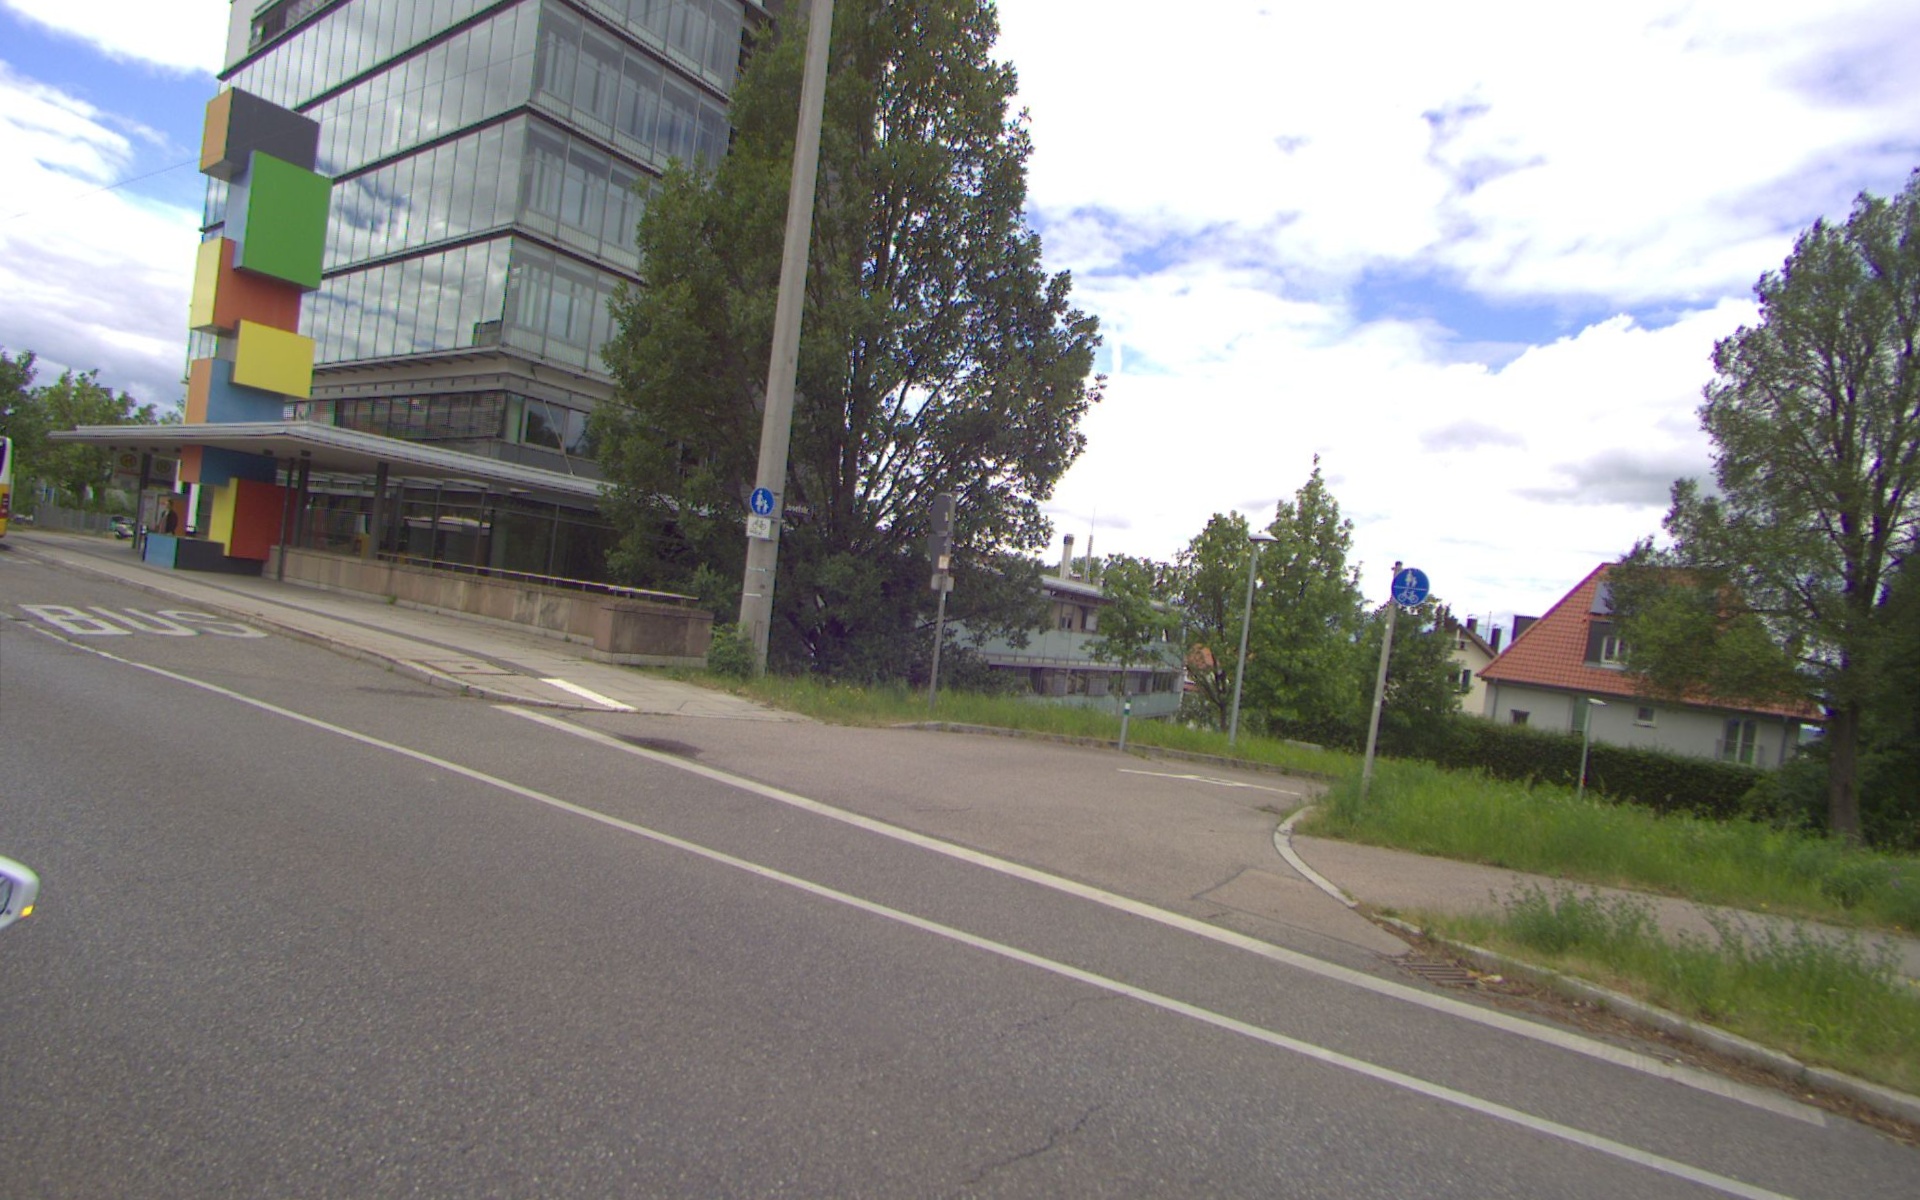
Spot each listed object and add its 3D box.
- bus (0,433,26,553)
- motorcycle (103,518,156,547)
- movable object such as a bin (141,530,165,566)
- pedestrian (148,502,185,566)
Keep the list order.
[{"bbox_3d":[-29.896,-3.329,29.100,9.111,3.156,2.962,6,0,40],"label":"bus"},{"bbox_3d":[-37.427,-3.039,45.350,1.746,1.083,0.634,7,0,-1],"label":"motorcycle"},{"bbox_3d":[-21.955,-1.412,27.364,0.455,0.908,0.356,7,0,39],"label":"movable object such as a bin"},{"bbox_3d":[-22.129,-1.845,28.069,0.722,1.693,0.524,7,0,39],"label":"pedestrian"}]
